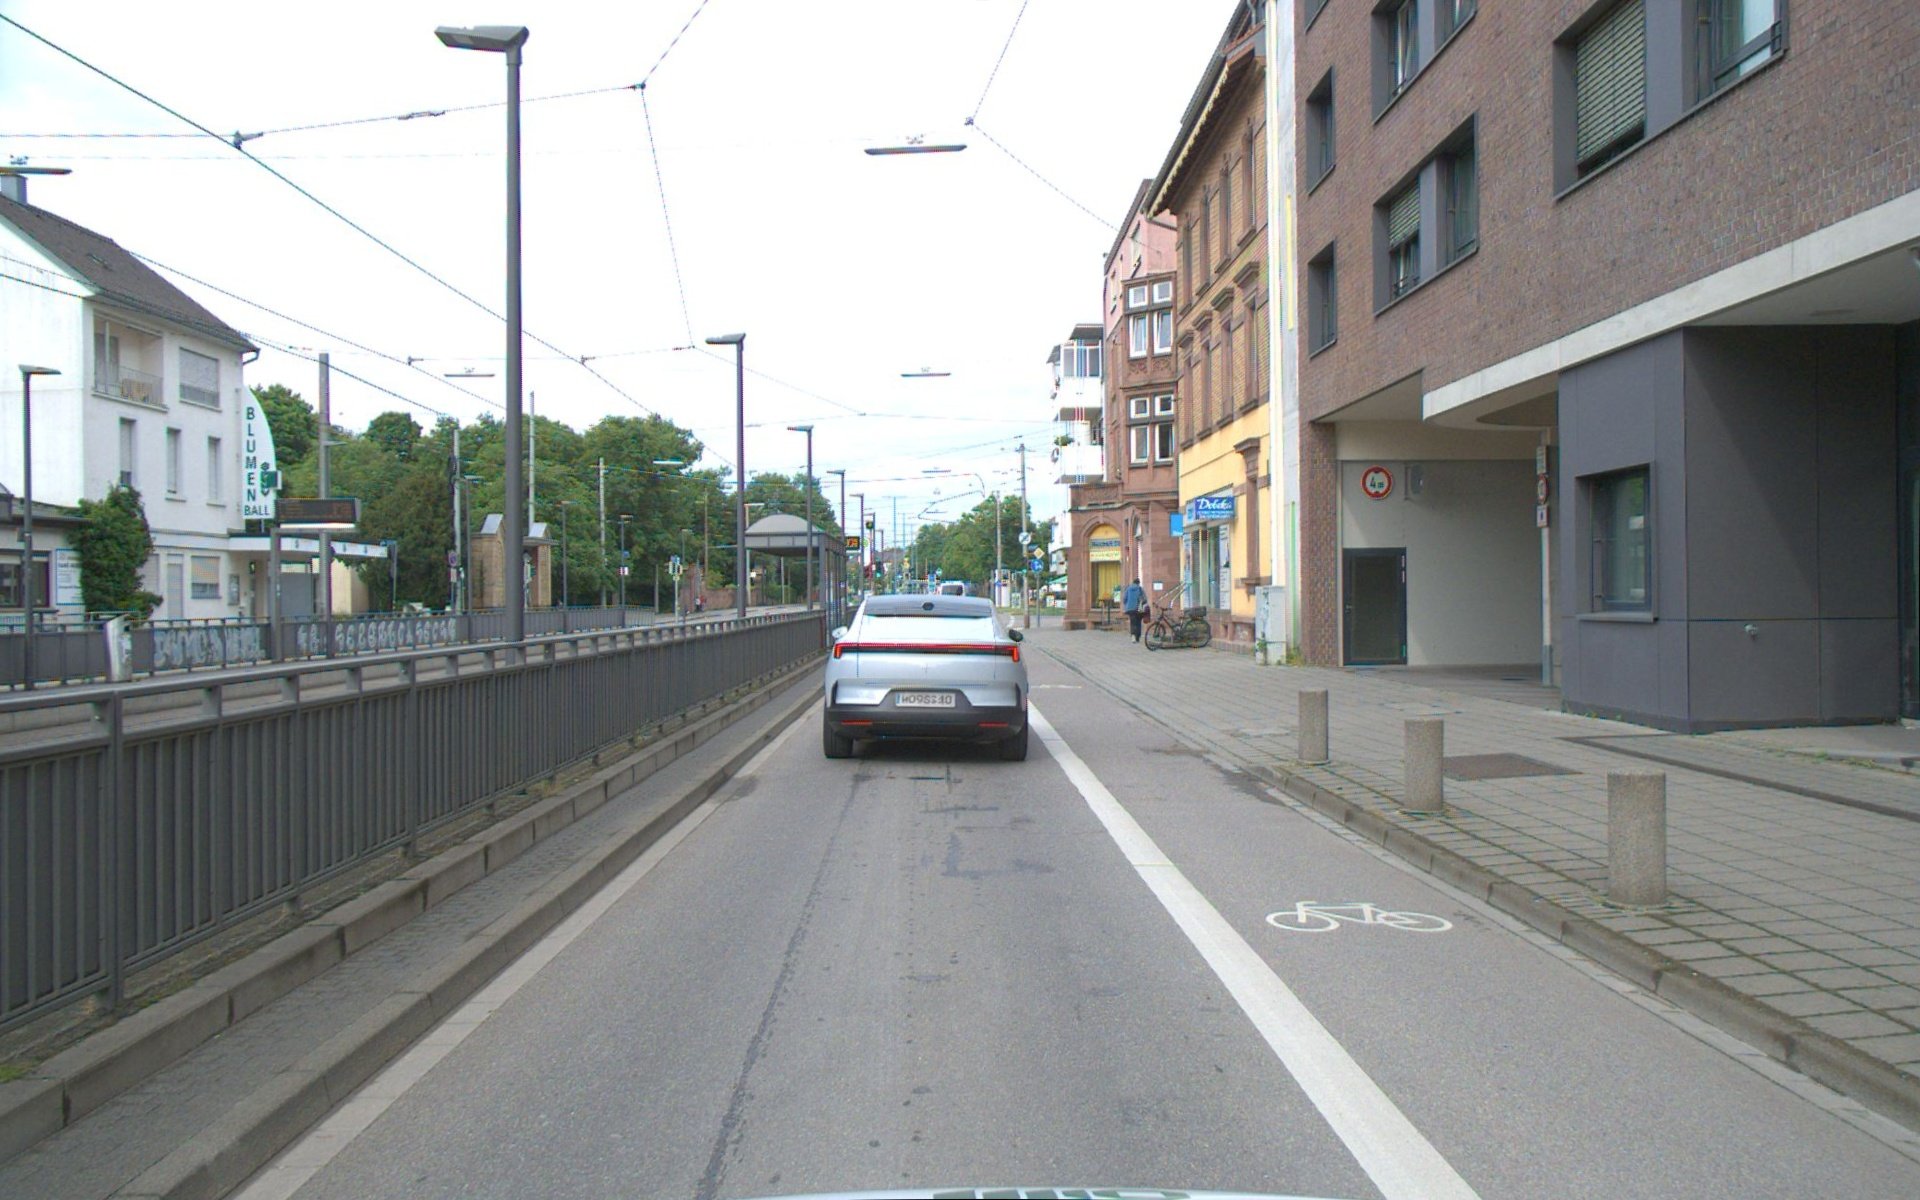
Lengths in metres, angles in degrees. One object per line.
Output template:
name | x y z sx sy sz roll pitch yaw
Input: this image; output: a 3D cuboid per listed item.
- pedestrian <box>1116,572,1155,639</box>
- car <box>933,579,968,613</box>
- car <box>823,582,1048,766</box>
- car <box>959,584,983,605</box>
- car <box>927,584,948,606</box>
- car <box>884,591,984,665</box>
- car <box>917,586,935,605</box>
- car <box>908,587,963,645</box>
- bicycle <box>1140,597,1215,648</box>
pedestrian | 5.086 0.141 48.024 0.941 1.882 0.975 -3 1 -1
car | -0.696 -0.275 119.587 2.182 2.444 5.118 0 0 -4
car | -0.374 0.670 16.528 1.960 1.608 3.995 0 -1 -5
car | 1.303 -0.622 200.753 2.750 2.549 5.721 0 0 -1
car | -2.117 -0.482 156.225 1.953 2.049 3.999 -1 0 -1
car | -0.585 0.549 34.981 1.953 1.444 3.998 -1 0 -2
car | -3.813 -0.540 184.587 1.953 2.049 3.999 -1 0 -1
car | -0.741 0.482 51.364 1.647 1.717 3.823 0 0 -1
bicycle | 5.424 0.557 41.311 1.742 1.149 0.642 -3 0 -2
